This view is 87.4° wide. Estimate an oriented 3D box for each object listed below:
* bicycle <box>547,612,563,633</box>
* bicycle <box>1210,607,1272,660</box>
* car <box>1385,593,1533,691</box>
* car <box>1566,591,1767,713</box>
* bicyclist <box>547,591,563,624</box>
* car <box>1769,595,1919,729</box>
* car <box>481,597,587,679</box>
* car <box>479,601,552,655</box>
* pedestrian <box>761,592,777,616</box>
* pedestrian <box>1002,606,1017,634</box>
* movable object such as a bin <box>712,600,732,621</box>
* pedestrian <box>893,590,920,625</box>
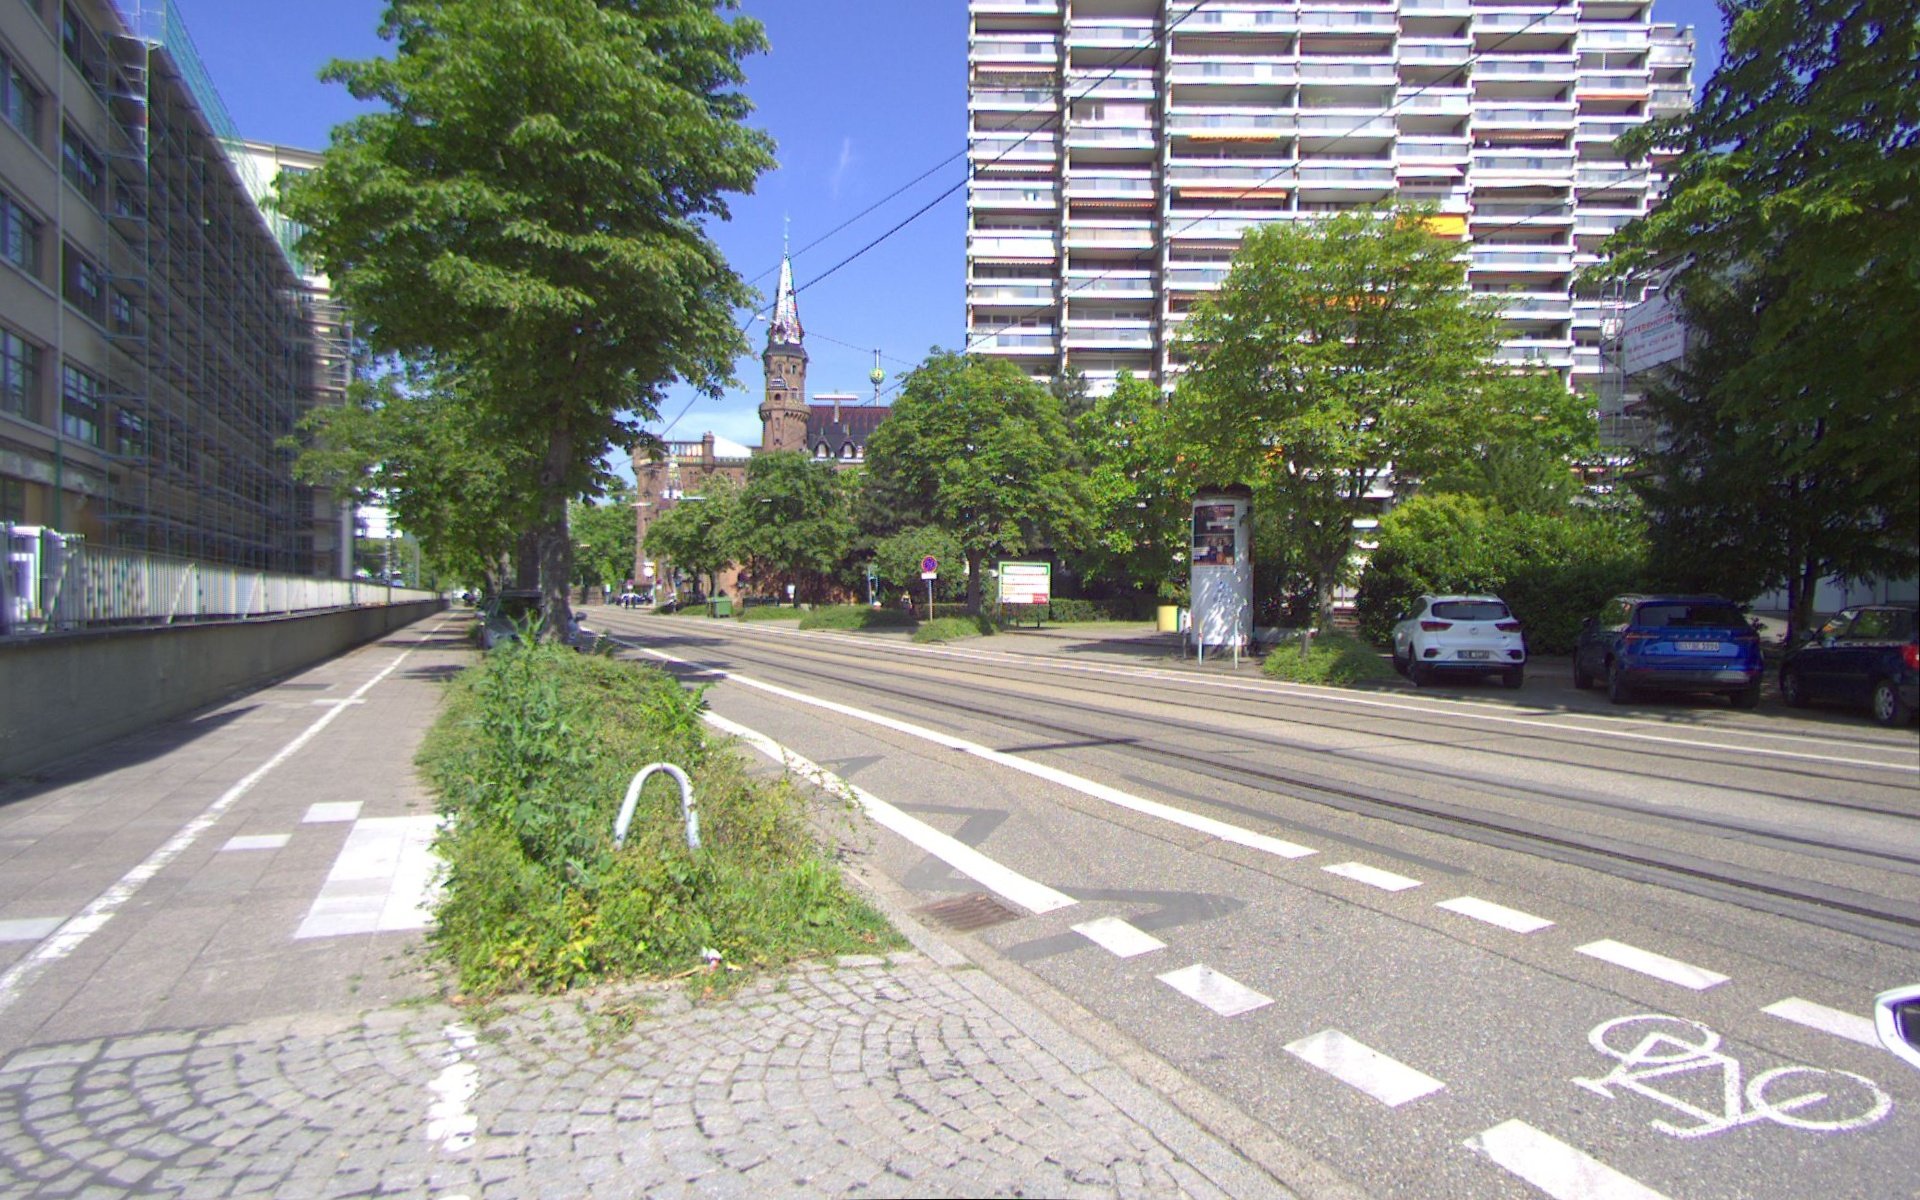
[{"bbox_3d":[-20.087,1.121,49.769,0.590,1.020,1.476,1,0,-28],"label":"bicycle"},{"bbox_3d":[7.363,0.857,26.350,0.541,1.326,1.607,1,0,-31],"label":"bicycle"},{"bbox_3d":[9.164,0.734,18.780,1.783,1.627,3.946,-1,-1,16],"label":"car"},{"bbox_3d":[10.889,0.695,15.789,1.746,1.644,3.943,0,1,23],"label":"car"},{"bbox_3d":[-20.068,0.354,49.767,0.624,1.628,0.697,1,0,-28],"label":"bicyclist"},{"bbox_3d":[12.218,0.744,13.029,1.545,1.551,3.459,1,0,18],"label":"car"},{"bbox_3d":[-8.917,0.717,20.855,1.797,1.514,4.080,1,0,-26],"label":"car"},{"bbox_3d":[-13.154,0.765,29.620,1.797,1.473,3.973,0,0,-26],"label":"car"},{"bbox_3d":[-15.098,0.330,79.301,1.044,1.822,1.259,2,0,-20],"label":"pedestrian"},{"bbox_3d":[2.104,0.835,42.557,0.524,1.169,0.701,1,0,-4],"label":"pedestrian"},{"bbox_3d":[-16.843,0.742,71.140,1.247,1.473,1.074,2,0,-21],"label":"movable object such as a bin"},{"bbox_3d":[-2.869,0.423,54.019,1.045,1.822,1.258,2,0,-22],"label":"pedestrian"}]
